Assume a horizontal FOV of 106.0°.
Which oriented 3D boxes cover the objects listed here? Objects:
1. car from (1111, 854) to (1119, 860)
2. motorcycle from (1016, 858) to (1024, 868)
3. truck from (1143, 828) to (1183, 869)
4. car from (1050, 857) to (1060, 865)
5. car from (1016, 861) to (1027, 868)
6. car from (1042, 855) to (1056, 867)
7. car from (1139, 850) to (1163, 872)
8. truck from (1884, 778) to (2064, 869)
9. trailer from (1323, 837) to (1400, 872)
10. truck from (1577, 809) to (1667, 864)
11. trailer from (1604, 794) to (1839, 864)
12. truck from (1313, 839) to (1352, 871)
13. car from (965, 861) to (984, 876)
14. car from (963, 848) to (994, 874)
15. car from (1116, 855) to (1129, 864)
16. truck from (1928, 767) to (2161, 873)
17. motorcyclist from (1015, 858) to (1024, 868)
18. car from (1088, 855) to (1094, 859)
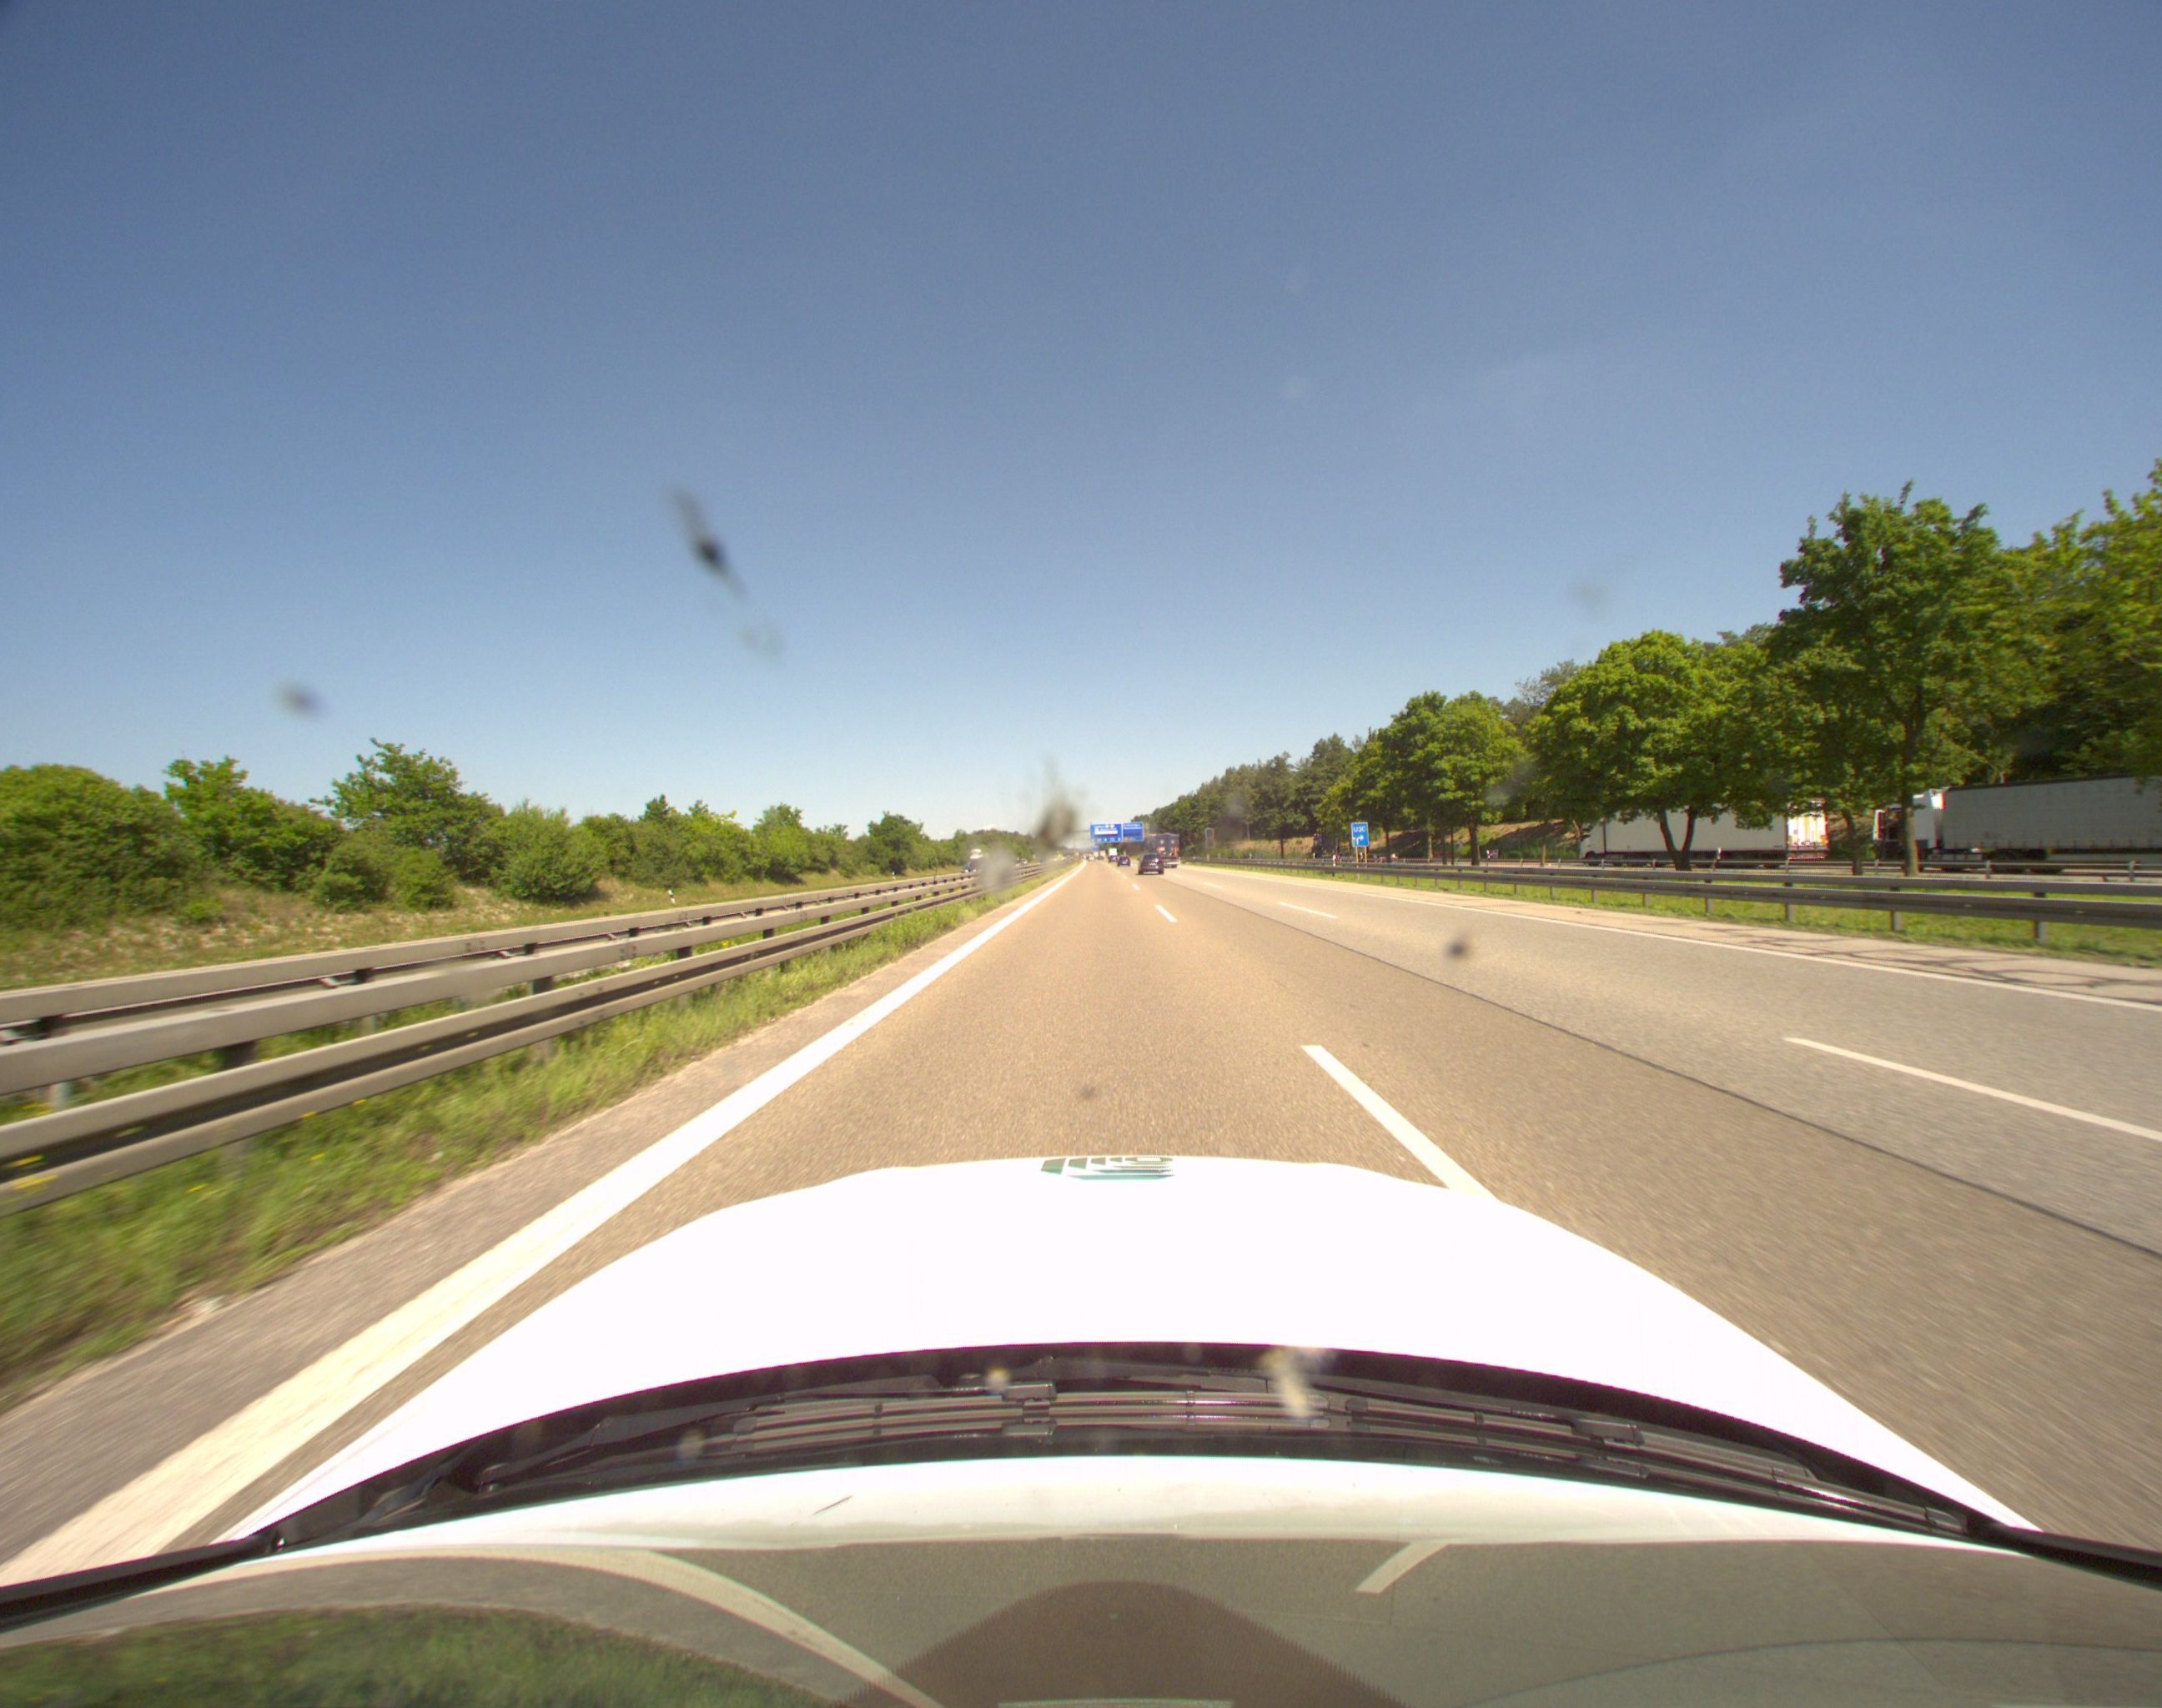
[{"bbox_3d":[7.148,0.620,171.097,1.465,1.398,3.412,1,0,2],"label":"car"},{"bbox_3d":[-7.131,1.039,94.618,0.661,1.076,1.882,-3,-1,2],"label":"motorcycle"},{"bbox_3d":[9.516,-0.544,96.082,3.765,4.422,14.057,-1,0,2],"label":"truck"},{"bbox_3d":[-6.120,1.724,191.236,1.913,1.873,5.518,-1,-1,1],"label":"car"},{"bbox_3d":[-13.536,2.452,185.413,1.781,1.439,4.523,-1,0,2],"label":"car"},{"bbox_3d":[-5.549,1.148,140.638,1.986,2.013,4.002,-2,0,2],"label":"car"},{"bbox_3d":[5.456,0.528,63.201,1.791,1.669,4.264,0,0,5],"label":"car"},{"bbox_3d":[41.511,-1.310,38.099,2.963,3.931,4.828,-1,-1,-3],"label":"truck"},{"bbox_3d":[32.985,0.125,96.719,2.573,3.915,12.698,-1,0,-11],"label":"trailer"},{"bbox_3d":[39.394,-1.207,59.503,2.804,3.797,5.136,-1,0,-5],"label":"truck"},{"bbox_3d":[40.064,-1.341,52.198,2.853,3.797,14.162,-1,0,-5],"label":"trailer"},{"bbox_3d":[31.746,0.127,102.900,2.573,3.915,4.847,-1,-1,-11],"label":"truck"},{"bbox_3d":[-11.457,1.505,87.596,1.507,1.486,3.374,-2,0,2],"label":"car"},{"bbox_3d":[-9.093,0.596,72.321,1.986,2.109,4.304,-3,0,2],"label":"car"},{"bbox_3d":[5.751,0.753,112.355,1.702,1.155,3.691,-2,0,2],"label":"car"},{"bbox_3d":[41.818,-1.293,31.290,2.989,3.931,14.445,-1,0,-3],"label":"truck"},{"bbox_3d":[-7.138,1.008,94.690,0.872,1.076,0.811,-3,-1,2],"label":"motorcyclist"},{"bbox_3d":[2.998,0.981,242.148,1.465,1.227,3.412,-2,0,2],"label":"car"}]
